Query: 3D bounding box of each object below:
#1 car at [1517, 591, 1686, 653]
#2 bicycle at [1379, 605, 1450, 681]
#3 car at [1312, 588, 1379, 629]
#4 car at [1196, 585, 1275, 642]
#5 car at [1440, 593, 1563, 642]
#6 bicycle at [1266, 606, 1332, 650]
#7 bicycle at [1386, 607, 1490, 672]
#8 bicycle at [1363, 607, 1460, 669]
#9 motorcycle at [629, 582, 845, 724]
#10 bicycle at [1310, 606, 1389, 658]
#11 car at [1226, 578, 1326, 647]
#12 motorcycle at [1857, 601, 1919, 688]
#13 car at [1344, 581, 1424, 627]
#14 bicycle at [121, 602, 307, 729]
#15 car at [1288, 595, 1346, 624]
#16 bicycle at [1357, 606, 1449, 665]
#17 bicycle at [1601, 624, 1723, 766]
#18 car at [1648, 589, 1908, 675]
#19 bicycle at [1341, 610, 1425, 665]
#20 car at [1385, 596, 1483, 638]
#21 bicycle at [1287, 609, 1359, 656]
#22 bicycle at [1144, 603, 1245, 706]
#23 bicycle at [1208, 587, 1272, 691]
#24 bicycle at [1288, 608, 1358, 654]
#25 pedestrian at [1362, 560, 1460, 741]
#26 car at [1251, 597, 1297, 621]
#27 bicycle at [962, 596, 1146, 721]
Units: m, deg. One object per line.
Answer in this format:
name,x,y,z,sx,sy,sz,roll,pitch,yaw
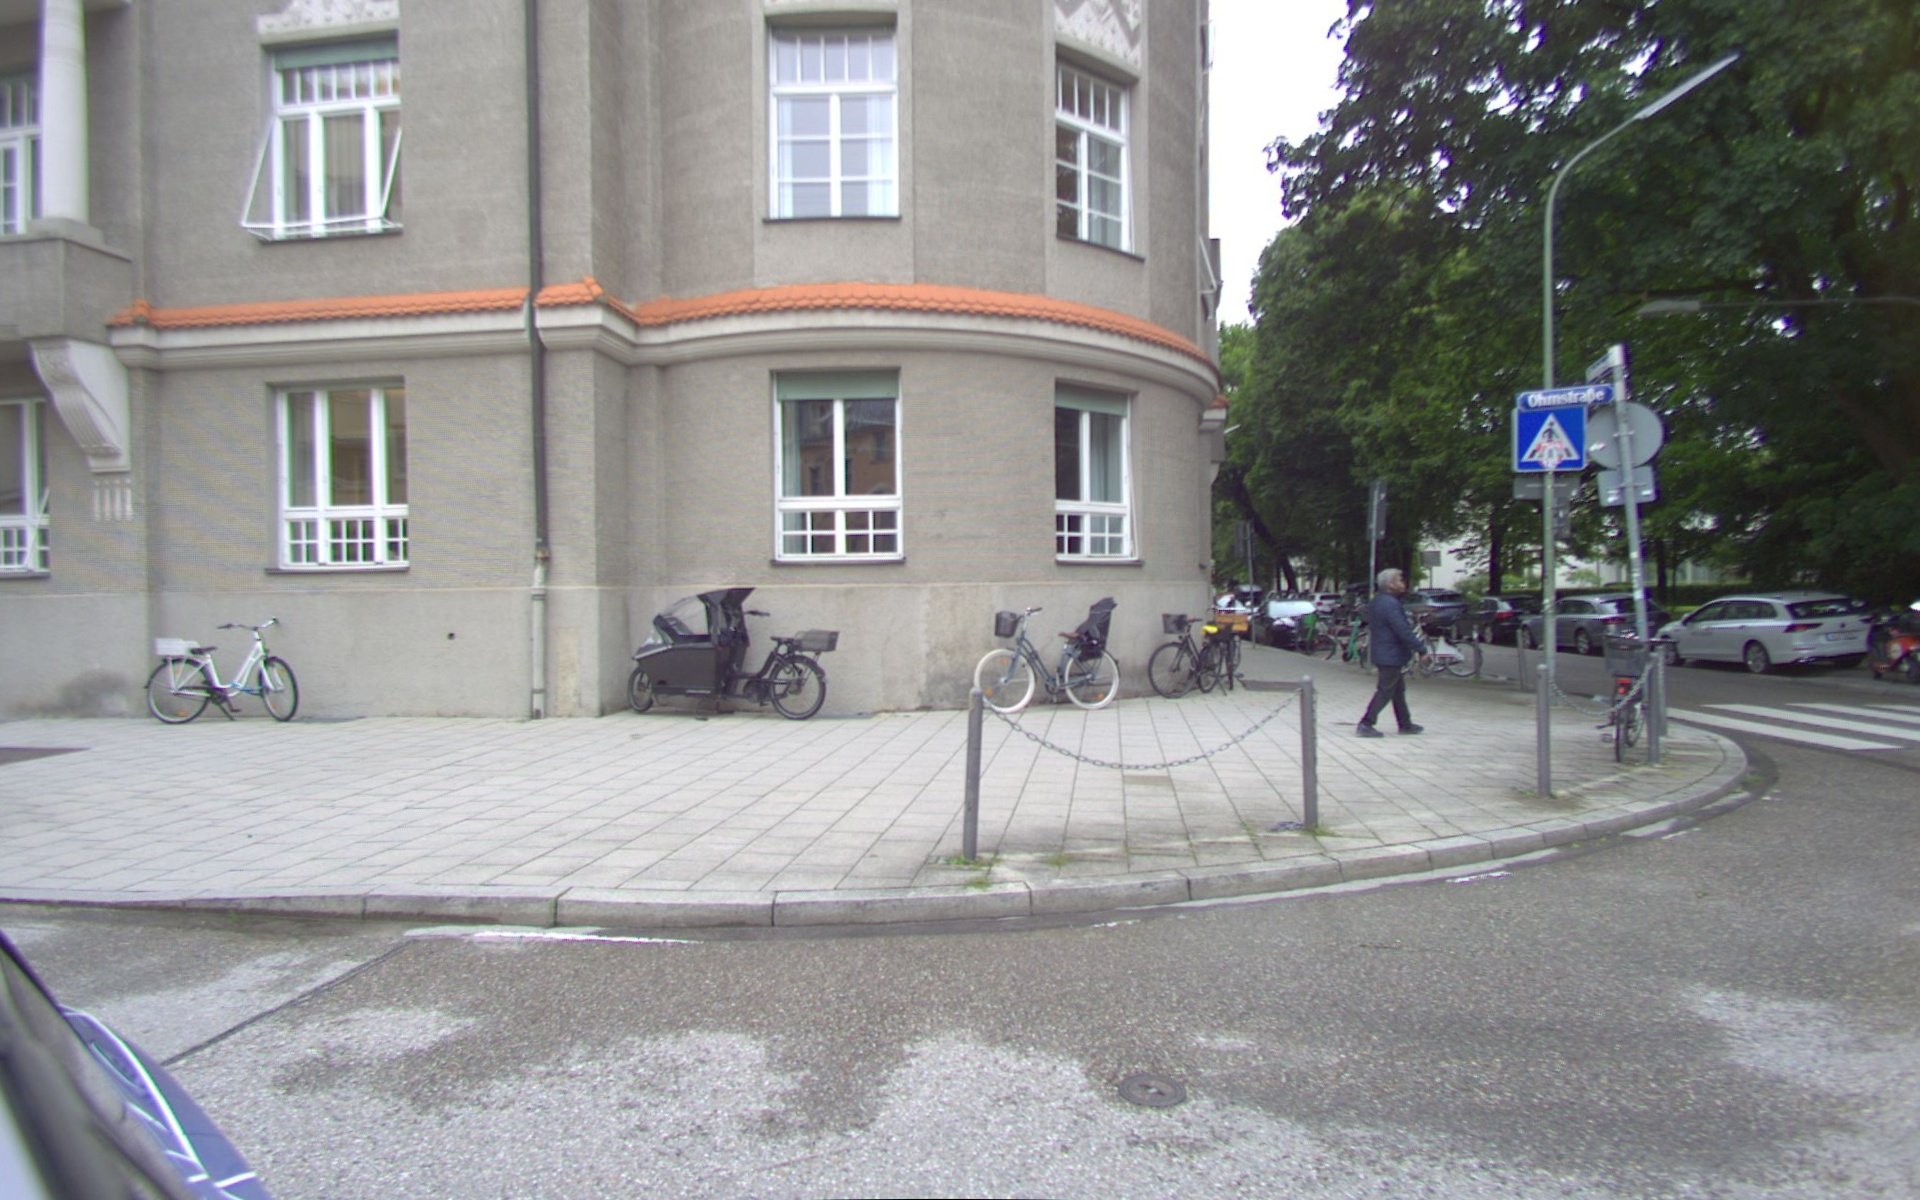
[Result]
car,16.440,0.548,26.234,1.755,1.443,4.510,0,-1,5
bicycle,7.497,0.679,16.659,1.659,1.156,0.512,-1,1,-45
car,18.263,0.402,48.143,1.755,1.849,4.510,0,-1,5
car,10.139,0.450,37.540,1.975,1.966,4.654,-1,1,5
car,17.084,0.529,32.191,1.755,1.443,4.510,0,-1,5
bicycle,9.277,0.765,27.685,1.674,1.156,0.508,-1,1,25
bicycle,8.759,0.714,18.605,1.698,1.156,0.508,-1,1,25
bicycle,8.662,0.723,19.451,1.674,1.156,0.462,-1,1,25
motorcycle,-2.354,0.551,10.811,2.121,1.451,0.736,-1,1,8
bicycle,8.914,0.722,23.166,1.674,1.156,0.508,-1,1,25
car,9.715,0.326,31.525,1.975,1.966,4.654,-1,1,5
motorcycle,14.446,0.646,15.368,0.857,1.192,1.983,-5,-2,33
car,17.818,0.156,42.728,1.755,1.832,4.510,-1,0,5
bicycle,-8.261,0.713,11.233,1.654,1.359,0.620,-1,0,5
car,18.693,0.516,53.202,1.755,1.443,4.510,0,-1,5
bicycle,8.984,0.717,20.554,1.674,1.156,0.508,-1,1,25
bicycle,6.061,0.754,8.690,1.978,1.017,0.512,-1,1,-45
car,15.579,0.556,19.635,1.604,1.459,4.430,-1,0,4
bicycle,9.271,0.804,22.200,1.674,1.156,0.508,-1,1,25
car,17.362,0.628,37.306,1.755,1.443,4.510,0,-1,5
bicycle,9.255,0.817,25.803,1.674,1.156,0.508,-1,1,25
bicycle,3.061,0.656,13.068,0.564,1.165,1.903,3,3,35
bicycle,4.153,0.524,14.911,0.733,1.424,1.913,-1,1,21
bicycle,9.489,0.803,26.475,1.674,1.156,0.508,-1,1,25
pedestrian,4.300,0.456,9.701,0.720,1.654,0.809,-1,1,15
car,19.455,0.559,62.835,1.755,1.443,4.510,0,-1,5
bicycle,1.042,0.609,11.206,1.893,1.265,0.741,-1,1,-22
